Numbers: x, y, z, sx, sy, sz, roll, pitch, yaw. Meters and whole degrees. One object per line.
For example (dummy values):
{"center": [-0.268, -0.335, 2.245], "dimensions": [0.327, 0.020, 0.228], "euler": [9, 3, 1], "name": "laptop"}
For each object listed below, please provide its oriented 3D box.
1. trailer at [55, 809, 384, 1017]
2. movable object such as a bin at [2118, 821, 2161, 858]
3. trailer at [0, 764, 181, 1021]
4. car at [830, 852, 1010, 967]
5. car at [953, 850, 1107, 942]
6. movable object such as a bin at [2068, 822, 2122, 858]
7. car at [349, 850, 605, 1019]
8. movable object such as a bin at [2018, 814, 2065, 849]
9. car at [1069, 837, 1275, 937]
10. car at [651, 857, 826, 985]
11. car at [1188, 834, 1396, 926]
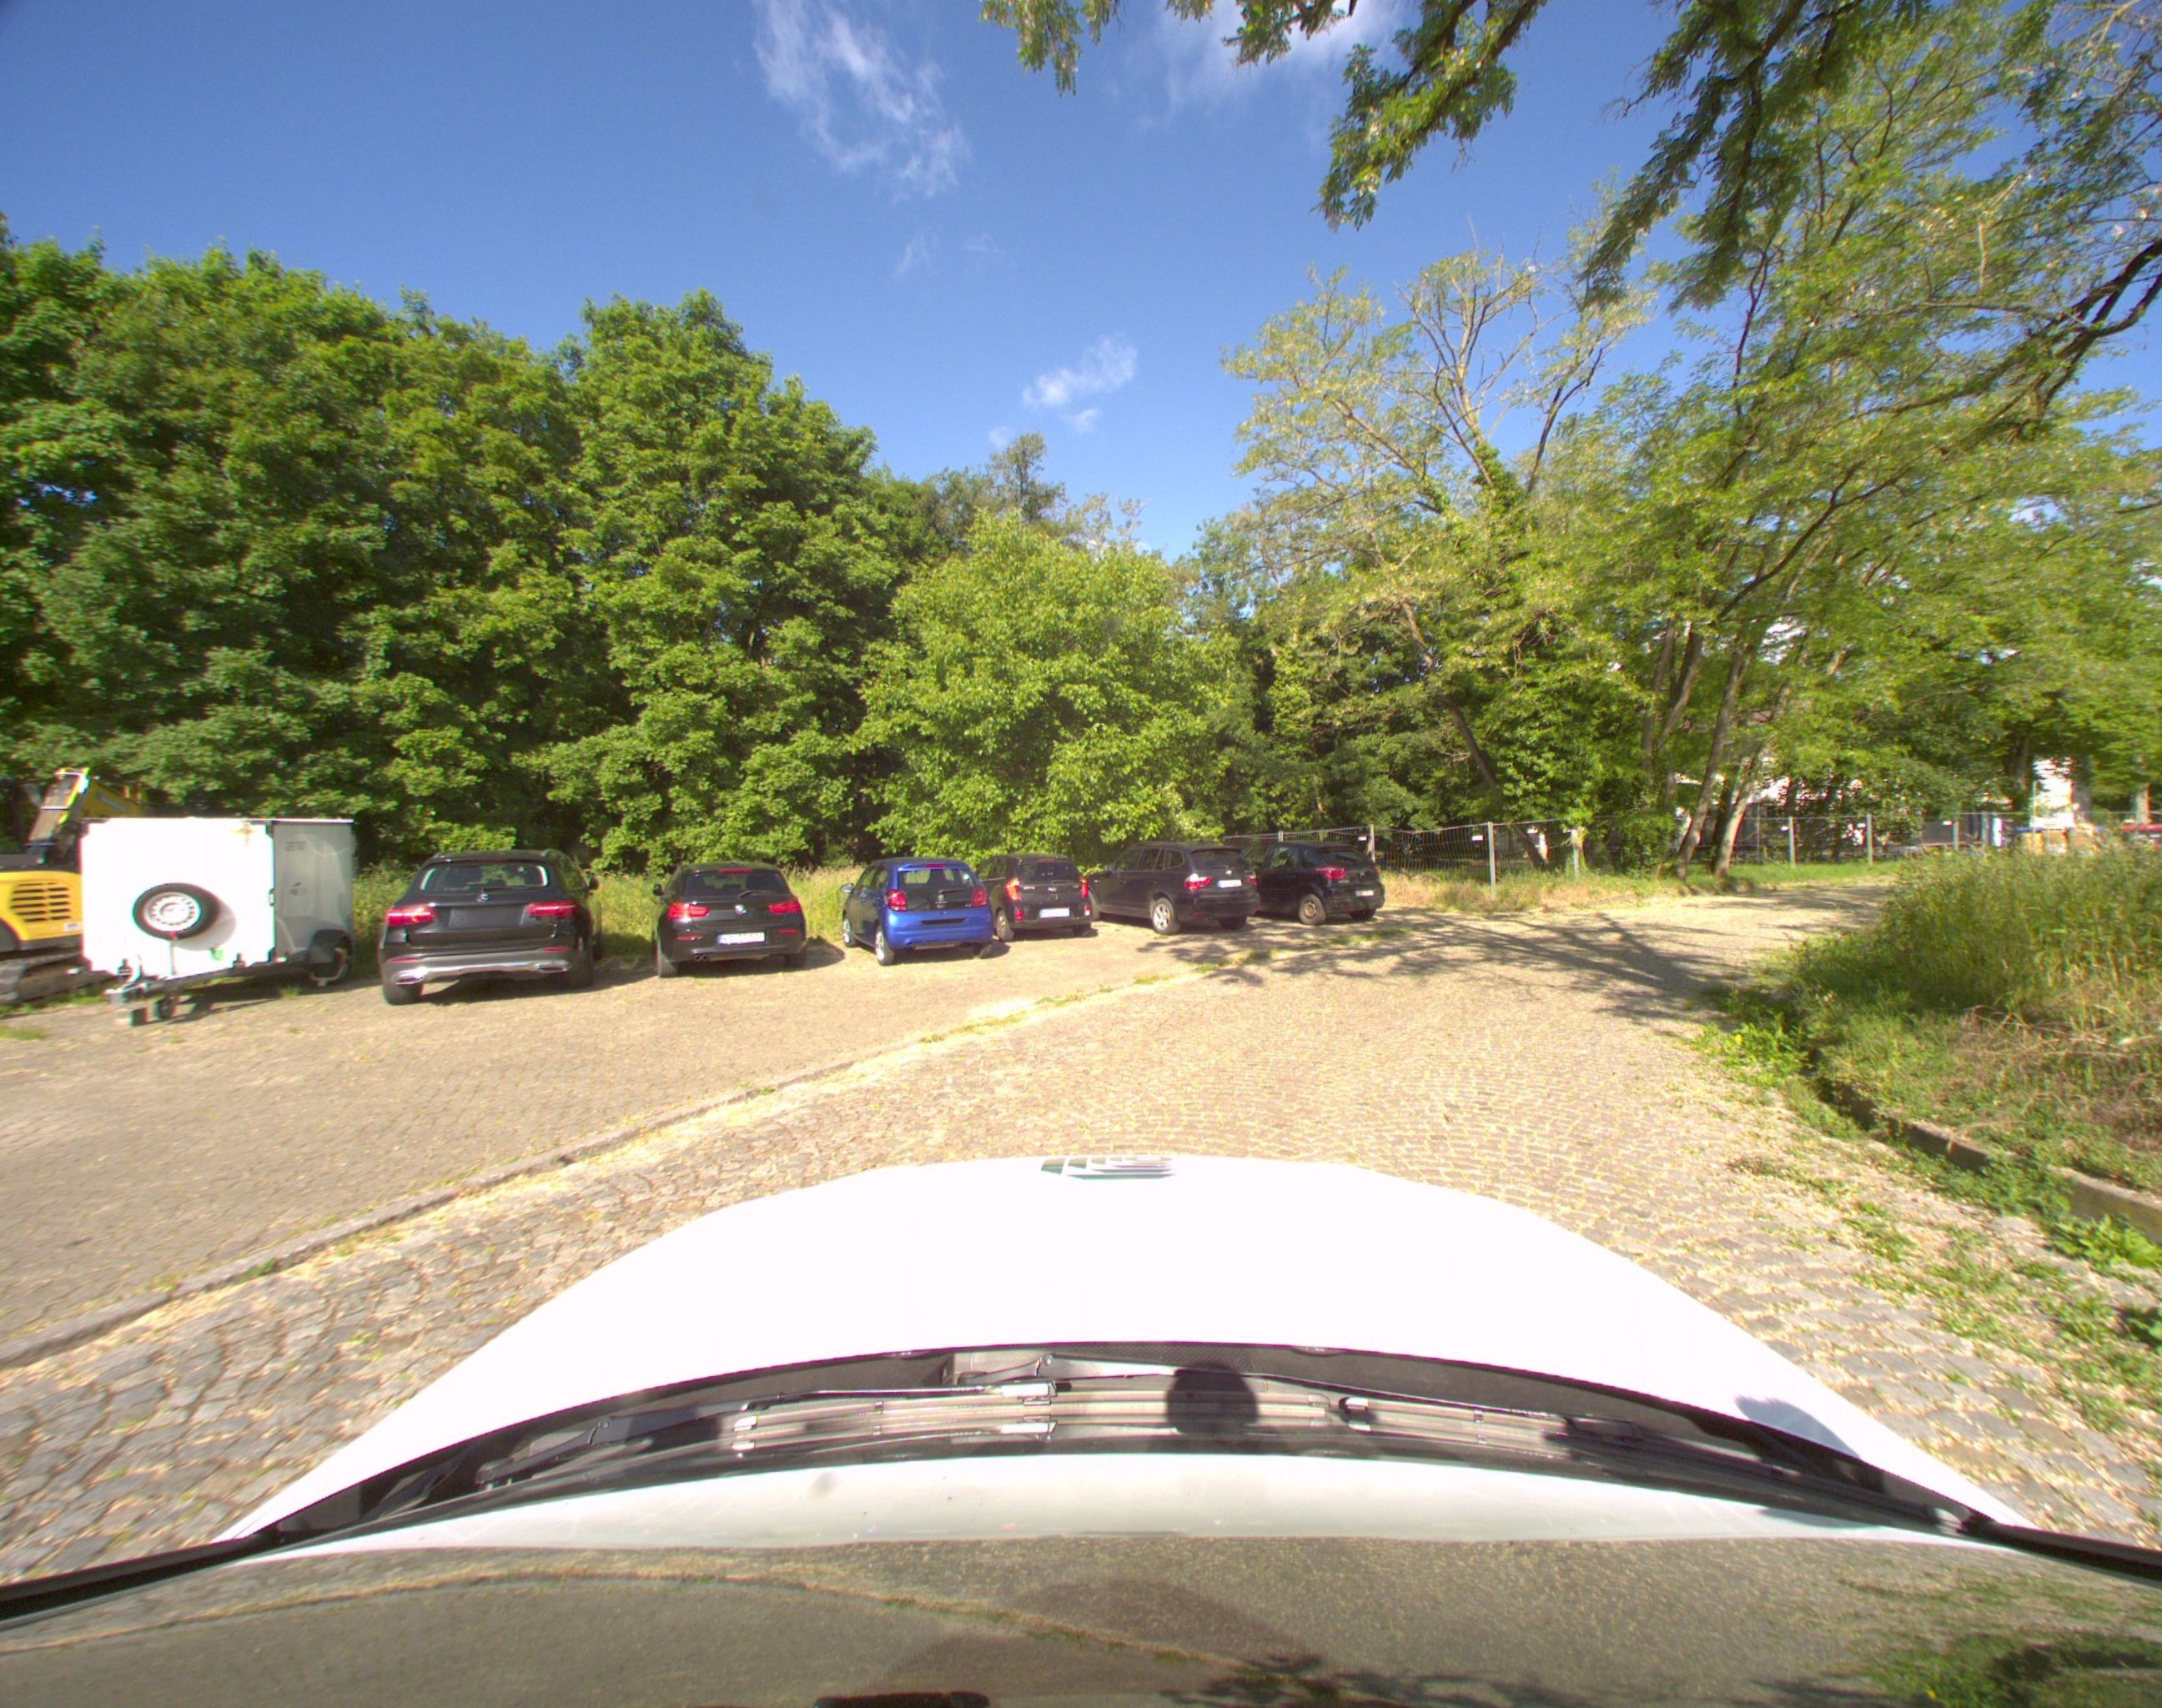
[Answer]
{"center": [-9.939, 0.564, 9.720], "dimensions": [1.828, 2.050, 2.825], "euler": [-1, 1, -27], "name": "trailer"}
{"center": [43.193, -0.583, 33.032], "dimensions": [1.036, 1.426, 1.278], "euler": [-1, -1, -32], "name": "movable object such as a bin"}
{"center": [-12.149, 0.330, 8.829], "dimensions": [2.271, 2.538, 2.826], "euler": [-1, 3, -27], "name": "trailer"}
{"center": [-2.666, 0.722, 12.796], "dimensions": [1.790, 1.458, 3.756], "euler": [-1, 1, -28], "name": "car"}
{"center": [-1.073, 0.663, 15.205], "dimensions": [1.746, 1.451, 3.696], "euler": [-1, 1, -23], "name": "car"}
{"center": [42.560, -0.589, 34.198], "dimensions": [1.036, 1.426, 1.278], "euler": [-1, -1, -32], "name": "movable object such as a bin"}
{"center": [-7.122, 0.760, 10.090], "dimensions": [1.976, 1.589, 4.093], "euler": [-1, 1, -29], "name": "car"}
{"center": [41.744, -0.974, 35.402], "dimensions": [1.058, 1.438, 1.078], "euler": [-1, -1, -27], "name": "movable object such as a bin"}
{"center": [1.627, 0.516, 16.082], "dimensions": [1.886, 1.631, 4.232], "euler": [-1, 2, -30], "name": "car"}
{"center": [-4.945, 0.777, 11.448], "dimensions": [1.900, 1.411, 3.755], "euler": [-1, 1, -29], "name": "car"}
{"center": [4.383, 0.444, 17.554], "dimensions": [1.837, 1.589, 4.230], "euler": [-2, 4, -33], "name": "car"}
